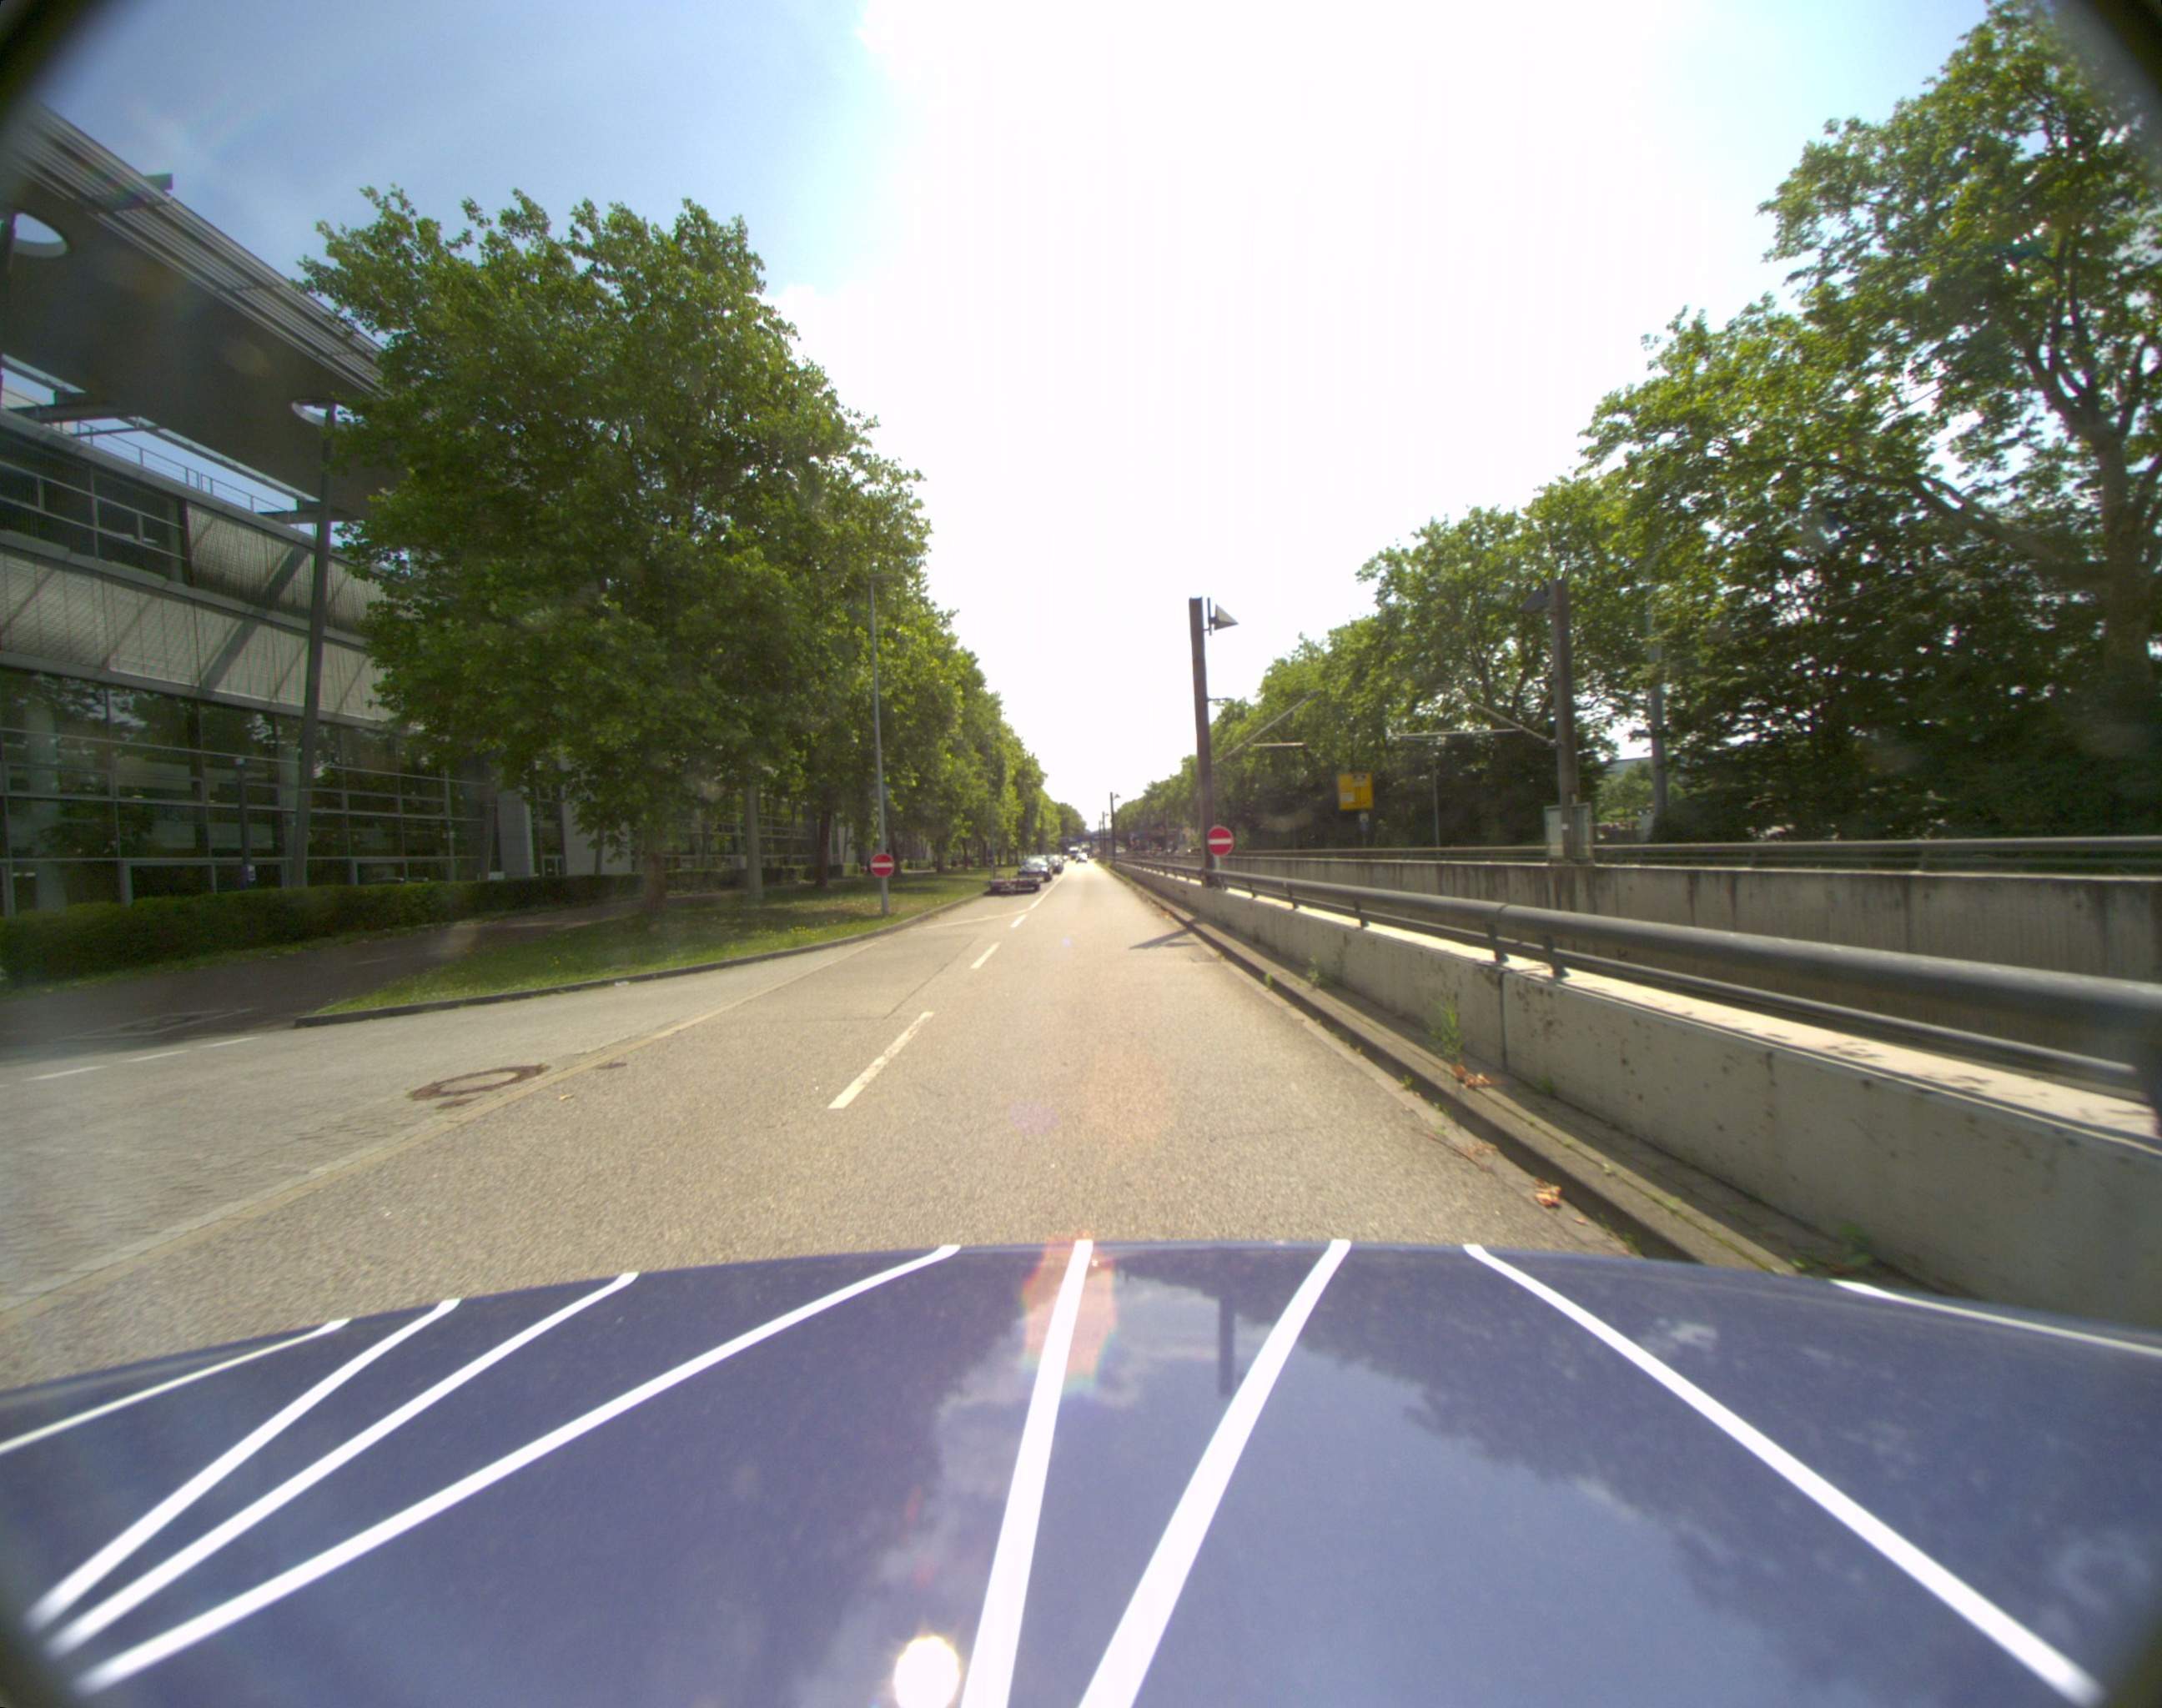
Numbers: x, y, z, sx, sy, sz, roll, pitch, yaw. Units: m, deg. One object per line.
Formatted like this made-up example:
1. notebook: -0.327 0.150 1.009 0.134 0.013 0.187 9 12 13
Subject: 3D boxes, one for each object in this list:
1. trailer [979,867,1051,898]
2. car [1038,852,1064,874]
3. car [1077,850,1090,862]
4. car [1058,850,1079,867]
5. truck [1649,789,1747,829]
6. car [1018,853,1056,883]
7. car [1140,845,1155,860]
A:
1. trailer: -2.660 1.157 32.492 2.303 0.823 6.819 -3 1 1
2. car: -2.359 0.699 60.391 1.809 1.496 3.734 -4 1 1
3. car: 0.459 0.301 125.922 1.998 1.711 4.304 -2 1 1
4. car: -1.204 0.455 75.248 1.809 1.496 3.734 -4 1 1
5. truck: 63.589 -4.568 78.504 7.704 3.640 3.065 -1 2 39
6. car: -2.511 0.780 44.138 1.809 1.496 3.734 -4 1 1
7. car: 8.639 -0.182 99.030 1.713 1.870 4.095 -2 1 1
